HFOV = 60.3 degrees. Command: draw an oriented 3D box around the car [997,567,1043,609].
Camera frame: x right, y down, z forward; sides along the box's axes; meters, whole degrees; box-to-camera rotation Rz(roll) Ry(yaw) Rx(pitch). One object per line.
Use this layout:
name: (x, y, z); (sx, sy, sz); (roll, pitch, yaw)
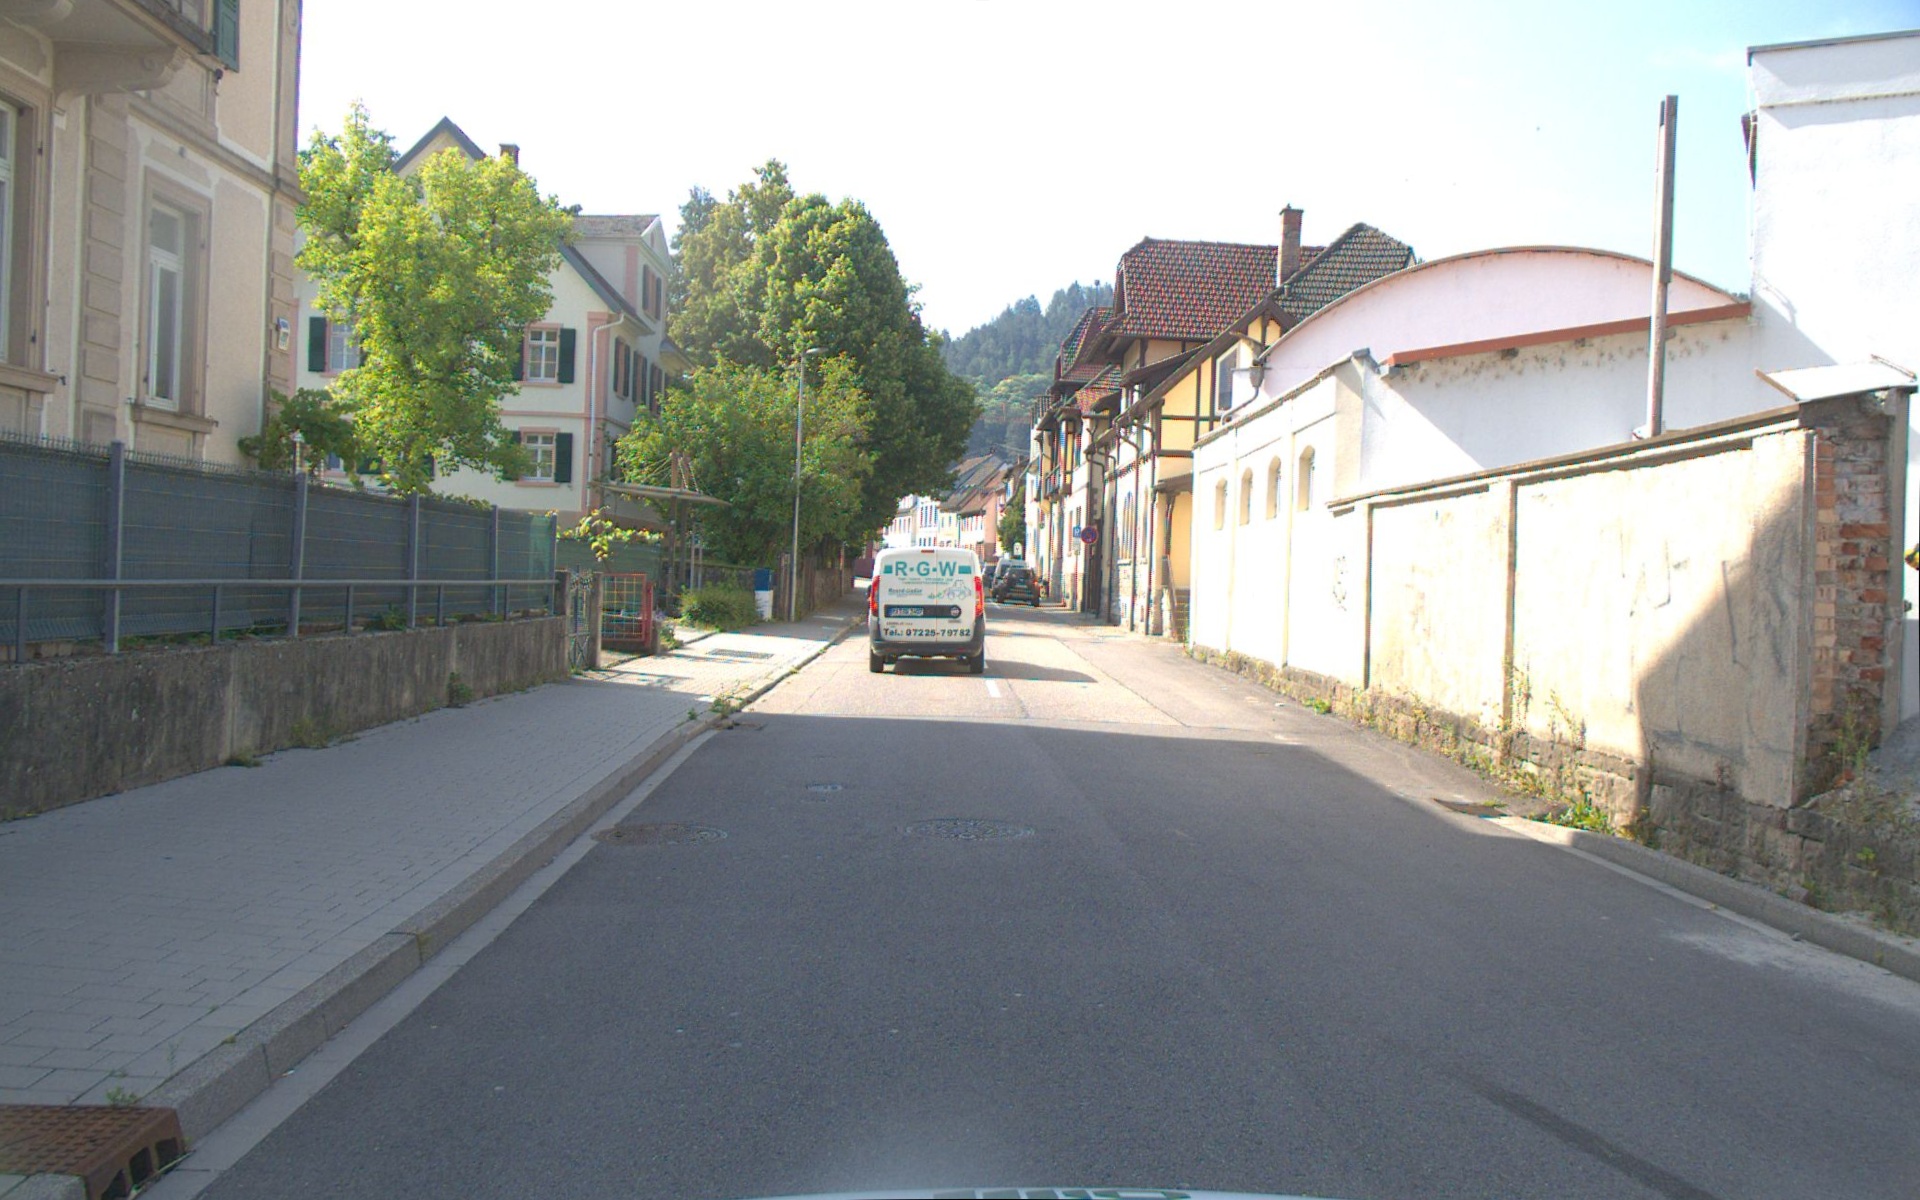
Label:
car: (2.618, -0.548, 73.132); (1.774, 1.624, 3.927); (5, 1, -1)

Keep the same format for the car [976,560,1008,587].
car: (1.937, -1.595, 99.722); (1.636, 1.534, 3.998); (2, 1, -3)

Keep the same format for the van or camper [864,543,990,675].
van or camper: (-0.545, 0.100, 26.105); (1.791, 1.876, 4.187); (1, 1, -2)

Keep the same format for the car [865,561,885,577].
car: (-10.202, -3.713, 198.448); (1.740, 1.830, 3.989); (2, 1, -12)

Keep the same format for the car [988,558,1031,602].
car: (2.471, -1.023, 83.320); (1.833, 2.048, 3.999); (3, 1, -1)

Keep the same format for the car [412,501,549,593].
car: (-10.919, -1.191, 37.989); (1.787, 1.802, 4.680); (6, 1, -3)
